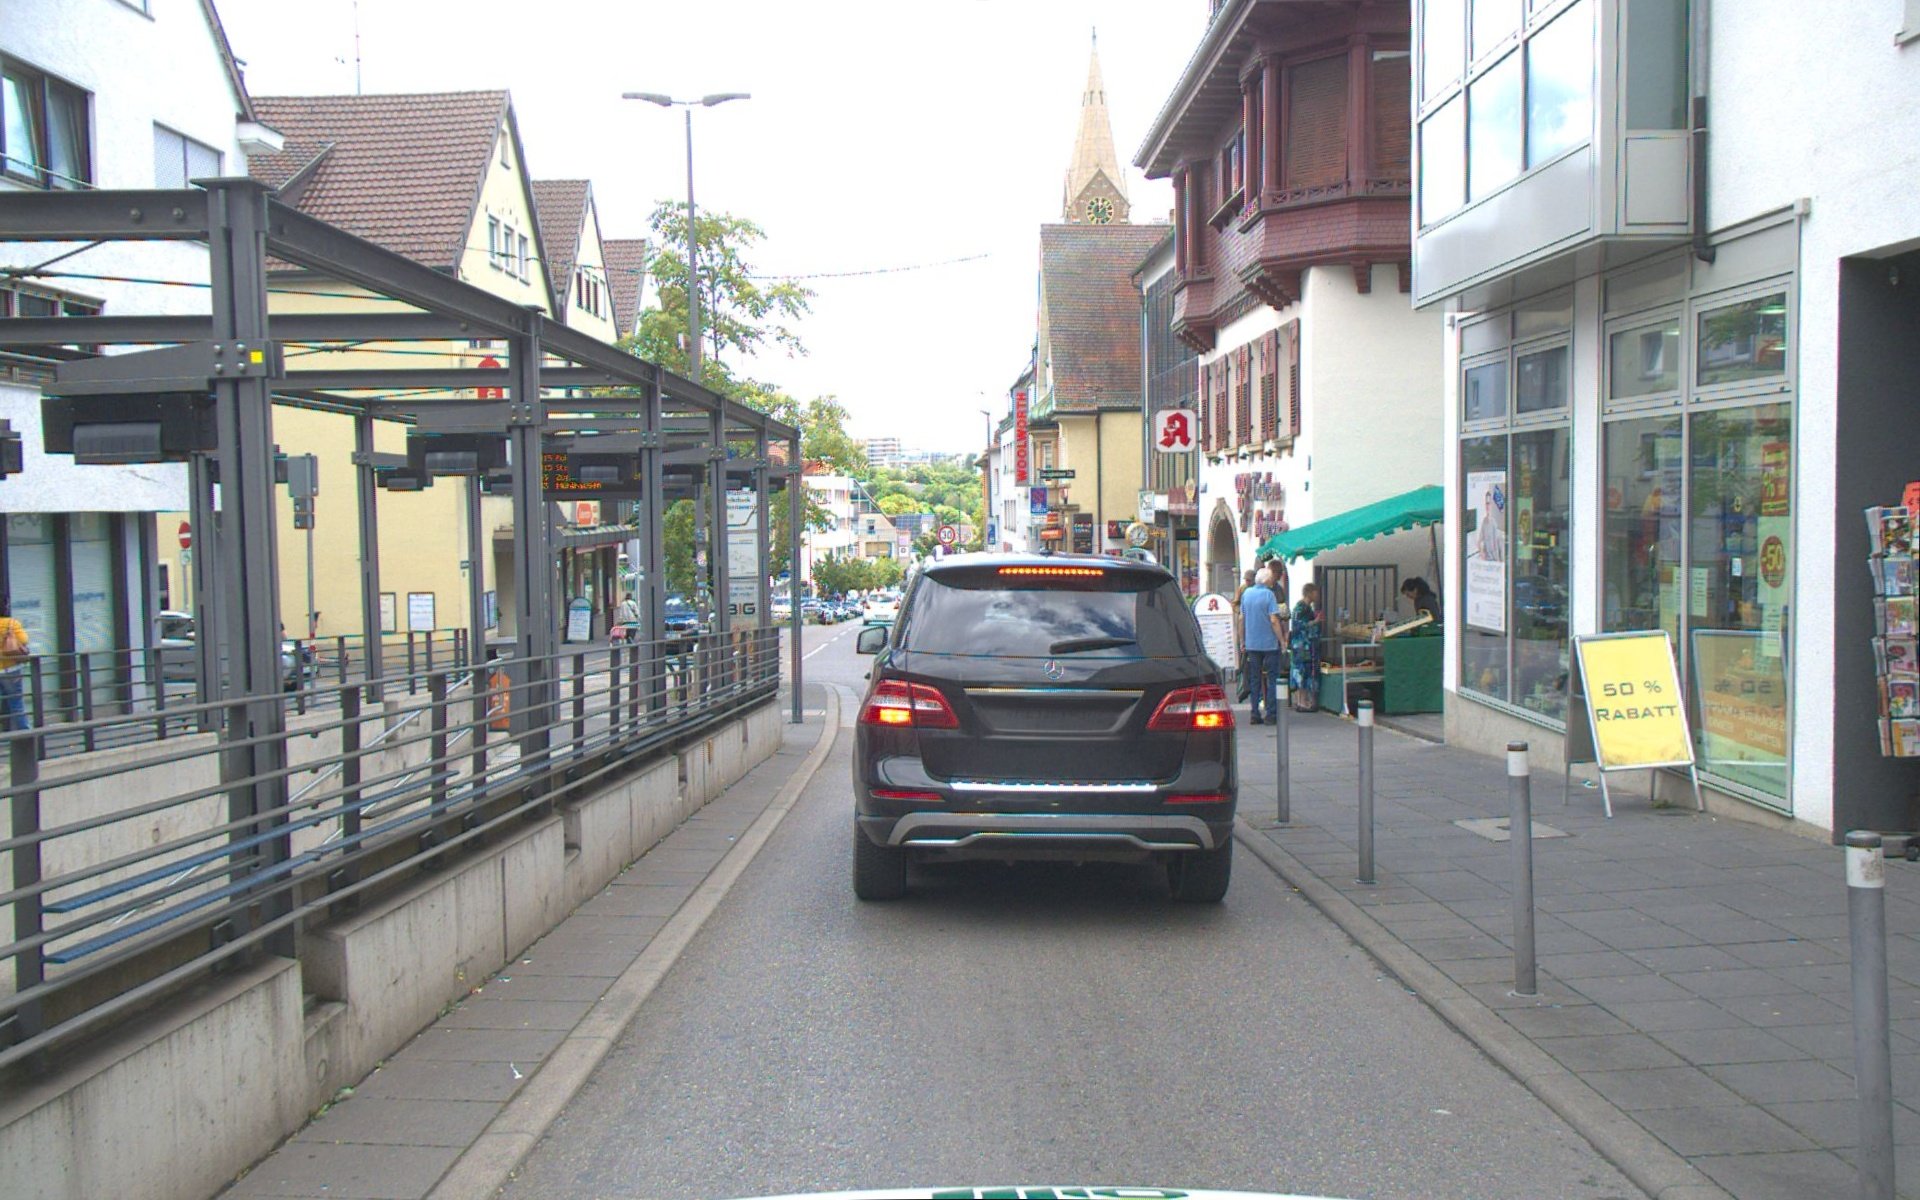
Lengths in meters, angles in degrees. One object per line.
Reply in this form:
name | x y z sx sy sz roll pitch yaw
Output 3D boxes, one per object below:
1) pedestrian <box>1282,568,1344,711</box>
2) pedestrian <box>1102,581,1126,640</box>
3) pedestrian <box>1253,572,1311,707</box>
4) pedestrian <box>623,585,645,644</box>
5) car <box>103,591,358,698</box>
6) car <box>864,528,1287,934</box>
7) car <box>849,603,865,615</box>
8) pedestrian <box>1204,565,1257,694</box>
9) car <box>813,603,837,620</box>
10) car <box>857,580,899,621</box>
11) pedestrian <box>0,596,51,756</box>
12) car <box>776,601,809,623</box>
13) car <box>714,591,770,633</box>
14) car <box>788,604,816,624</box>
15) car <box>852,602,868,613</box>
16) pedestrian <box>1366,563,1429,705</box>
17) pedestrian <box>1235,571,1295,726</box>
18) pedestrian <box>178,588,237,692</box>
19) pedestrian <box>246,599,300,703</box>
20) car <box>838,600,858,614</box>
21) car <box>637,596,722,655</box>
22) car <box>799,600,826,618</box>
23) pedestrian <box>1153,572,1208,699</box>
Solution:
pedestrian | 4.338 0.476 20.332 0.562 1.718 0.565 -1 0 -7
pedestrian | 4.540 0.294 48.763 0.594 1.718 0.724 -1 0 -1
pedestrian | 4.155 0.504 21.344 0.562 1.718 0.565 1 0 -7
pedestrian | -9.560 0.430 48.487 0.502 1.718 0.541 1 0 -1
car | -13.870 0.804 31.520 4.091 1.761 1.836 3 0 12
car | 0.442 0.577 9.347 1.862 1.777 3.998 1 0 -2
car | -9.911 0.837 159.023 1.360 1.089 3.112 -1 0 0
pedestrian | 3.938 0.419 24.127 0.626 1.841 0.684 1 0 -2
car | -9.000 0.773 110.532 1.360 1.089 3.112 -1 0 0
car | -3.647 0.002 74.420 1.734 1.743 3.999 1 0 -1
pedestrian | -10.455 0.822 18.186 0.566 1.718 0.576 1 0 -1
car | -8.616 0.597 85.346 1.360 1.089 3.112 -1 0 0
car | -8.239 0.434 62.702 1.626 1.516 3.747 1 0 0
car | -9.237 0.799 96.688 1.360 1.089 3.112 -1 0 0
car | -9.907 0.727 164.312 1.360 1.089 3.112 -1 0 0
pedestrian | 5.412 0.417 20.487 0.562 1.718 0.565 -1 0 -7
pedestrian | 3.526 0.549 19.137 0.531 1.756 0.527 -1 0 -7
pedestrian | -12.629 0.658 27.765 0.639 1.718 0.730 1 0 -3
pedestrian | -11.619 0.854 27.987 0.613 1.718 0.679 1 0 -1
car | -8.937 0.559 131.760 1.360 1.089 3.112 -1 0 0
car | -7.667 0.662 45.464 1.655 1.516 3.979 1 0 0
car | -9.137 0.548 102.535 1.360 1.089 3.112 -1 0 0
pedestrian | 3.023 0.483 22.723 0.609 1.718 0.565 1 0 -7
